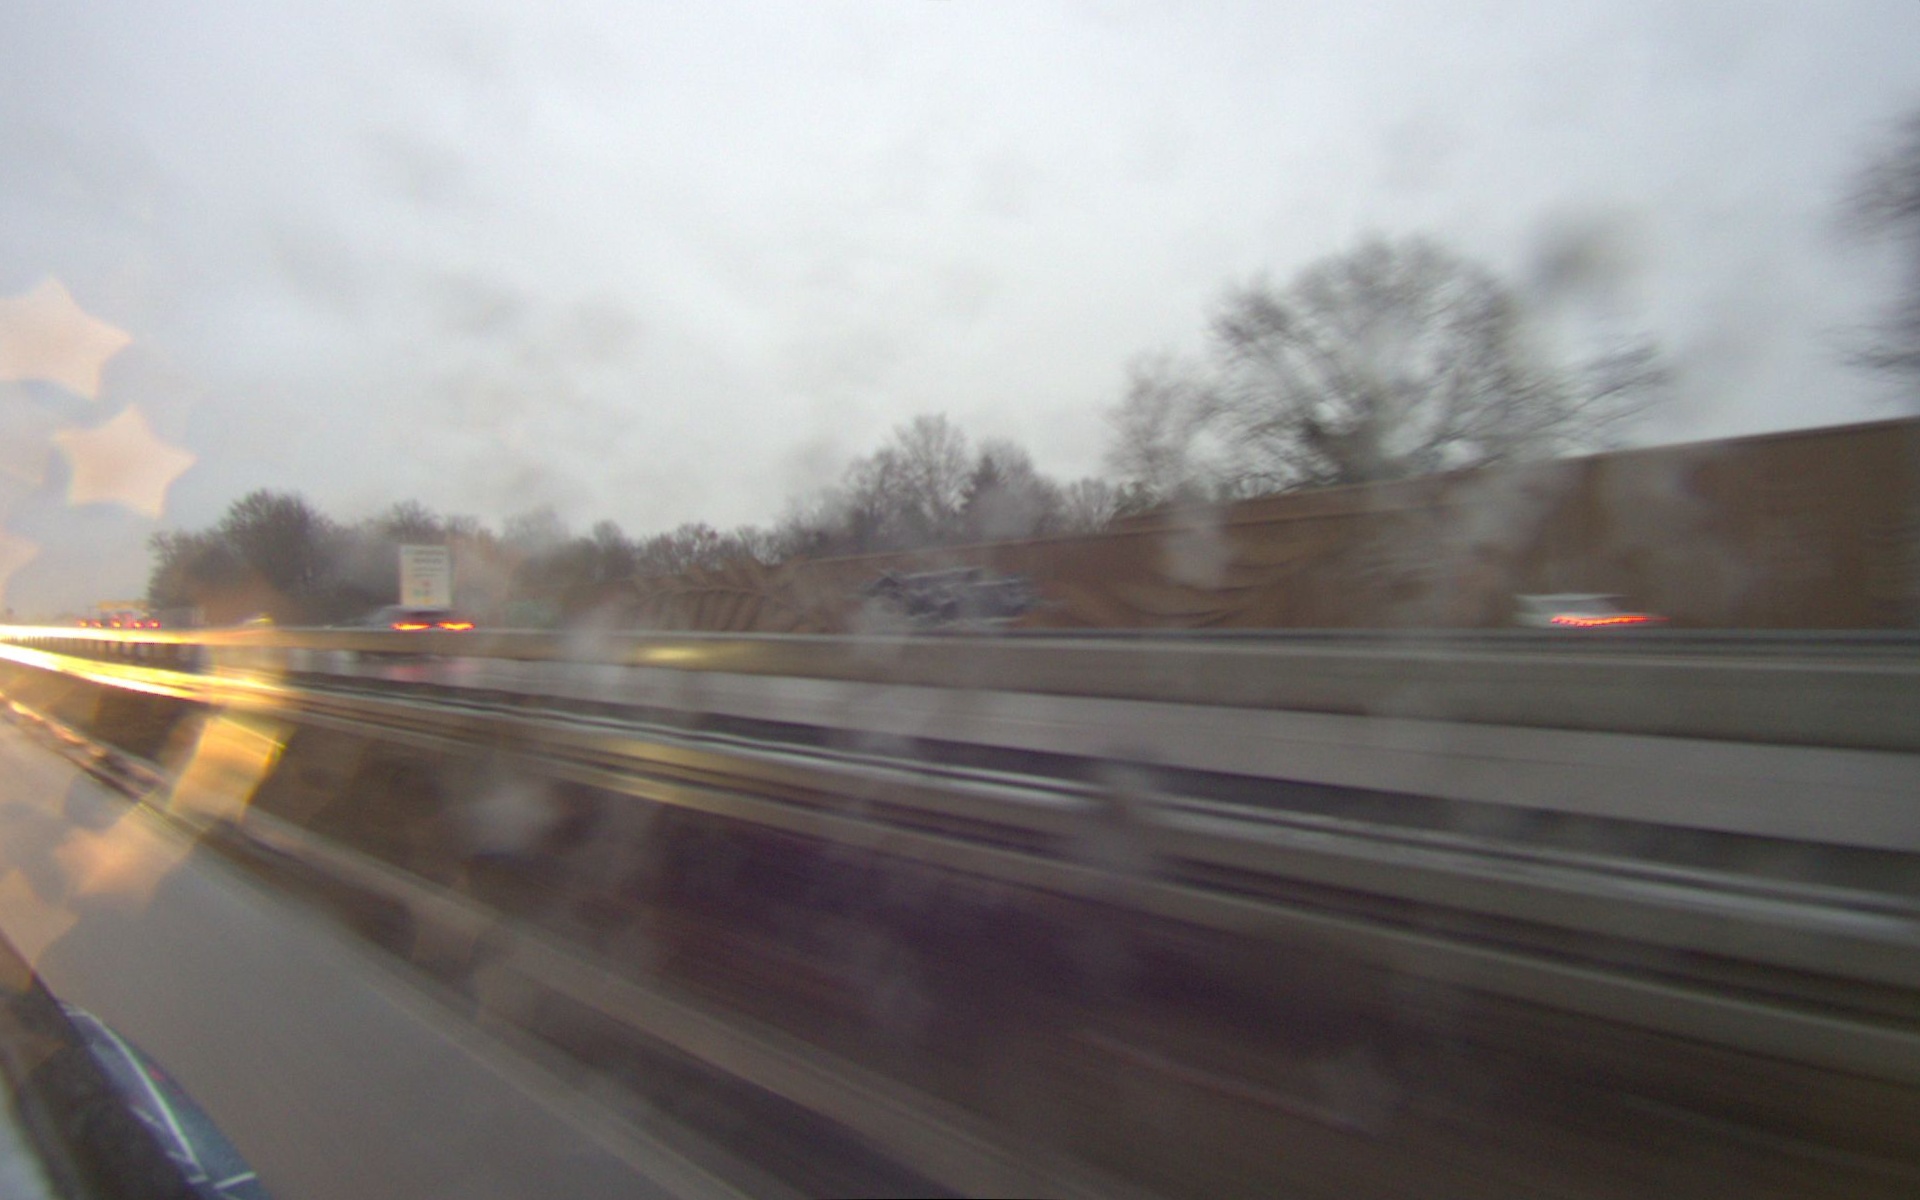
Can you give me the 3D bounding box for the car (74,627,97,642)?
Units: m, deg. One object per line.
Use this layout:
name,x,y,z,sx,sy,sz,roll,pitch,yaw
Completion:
car,-105.968,4.183,122.618,1.845,1.639,4.782,-1,-1,-44

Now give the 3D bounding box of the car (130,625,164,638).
car,-81.196,3.119,101.027,3.994,1.170,1.780,-1,0,38

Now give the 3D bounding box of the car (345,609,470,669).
car,-15.861,1.063,28.968,4.354,1.567,1.818,-1,-1,42

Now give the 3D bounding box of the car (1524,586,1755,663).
car,13.719,0.467,20.612,1.626,1.406,3.534,-1,0,-31

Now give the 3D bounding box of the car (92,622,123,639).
car,-74.705,2.646,88.676,3.682,1.452,1.678,-1,-1,44
